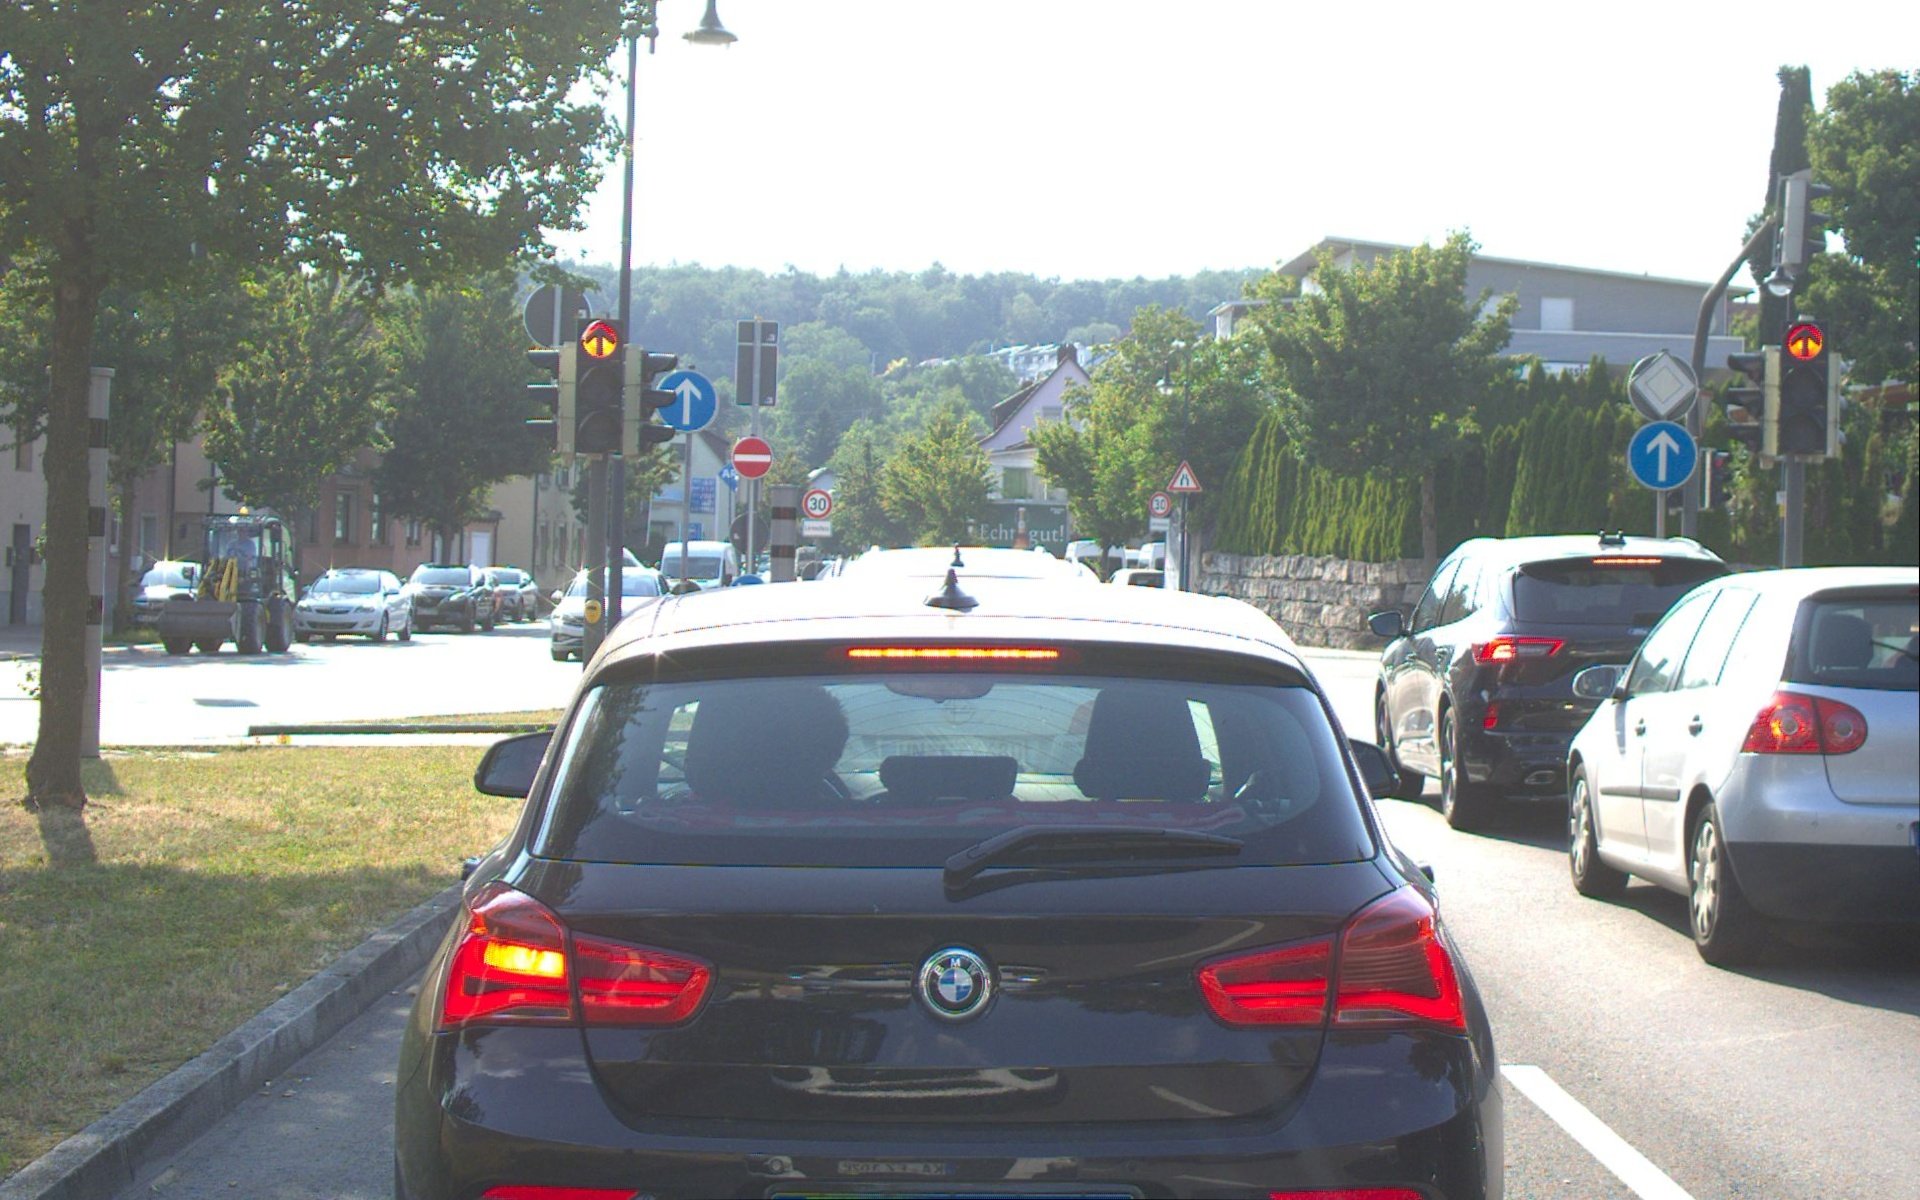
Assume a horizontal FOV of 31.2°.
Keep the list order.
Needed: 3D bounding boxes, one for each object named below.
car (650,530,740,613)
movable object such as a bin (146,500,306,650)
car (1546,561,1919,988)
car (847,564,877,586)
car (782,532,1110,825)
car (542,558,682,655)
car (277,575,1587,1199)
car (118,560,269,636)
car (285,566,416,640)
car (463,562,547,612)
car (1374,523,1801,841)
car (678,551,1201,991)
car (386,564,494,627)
[{"bbox_3d":[-7.934,-0.862,103.483,2.084,2.385,5.528,1,1,1],"label":"car"},{"bbox_3d":[-12.366,-0.440,58.195,1.736,2.433,4.450,0,1,0],"label":"movable object such as a bin"},{"bbox_3d":[3.562,0.578,13.744,1.761,1.421,3.903,-1,1,0],"label":"car"},{"bbox_3d":[-6.715,-1.710,235.735,1.737,1.296,3.799,5,1,2],"label":"car"},{"bbox_3d":[-0.074,0.395,21.046,1.788,1.588,4.281,-1,1,0],"label":"car"},{"bbox_3d":[-5.586,0.078,55.516,1.839,1.477,4.000,1,1,0],"label":"car"},{"bbox_3d":[-0.031,0.680,6.861,1.788,1.393,4.281,-1,1,0],"label":"car"},{"bbox_3d":[-14.930,-0.058,67.156,1.737,1.296,4.000,5,1,3],"label":"car"},{"bbox_3d":[-12.259,0.038,69.354,1.737,1.296,3.799,5,1,2],"label":"car"},{"bbox_3d":[-13.591,-0.399,102.866,1.737,1.296,3.799,5,1,2],"label":"car"},{"bbox_3d":[3.535,0.400,20.026,1.761,1.650,3.903,-1,1,0],"label":"car"},{"bbox_3d":[-0.067,0.560,14.007,1.788,1.488,4.281,-1,1,0],"label":"car"},{"bbox_3d":[-12.340,-0.129,81.761,1.737,1.296,3.799,5,1,2],"label":"car"}]
